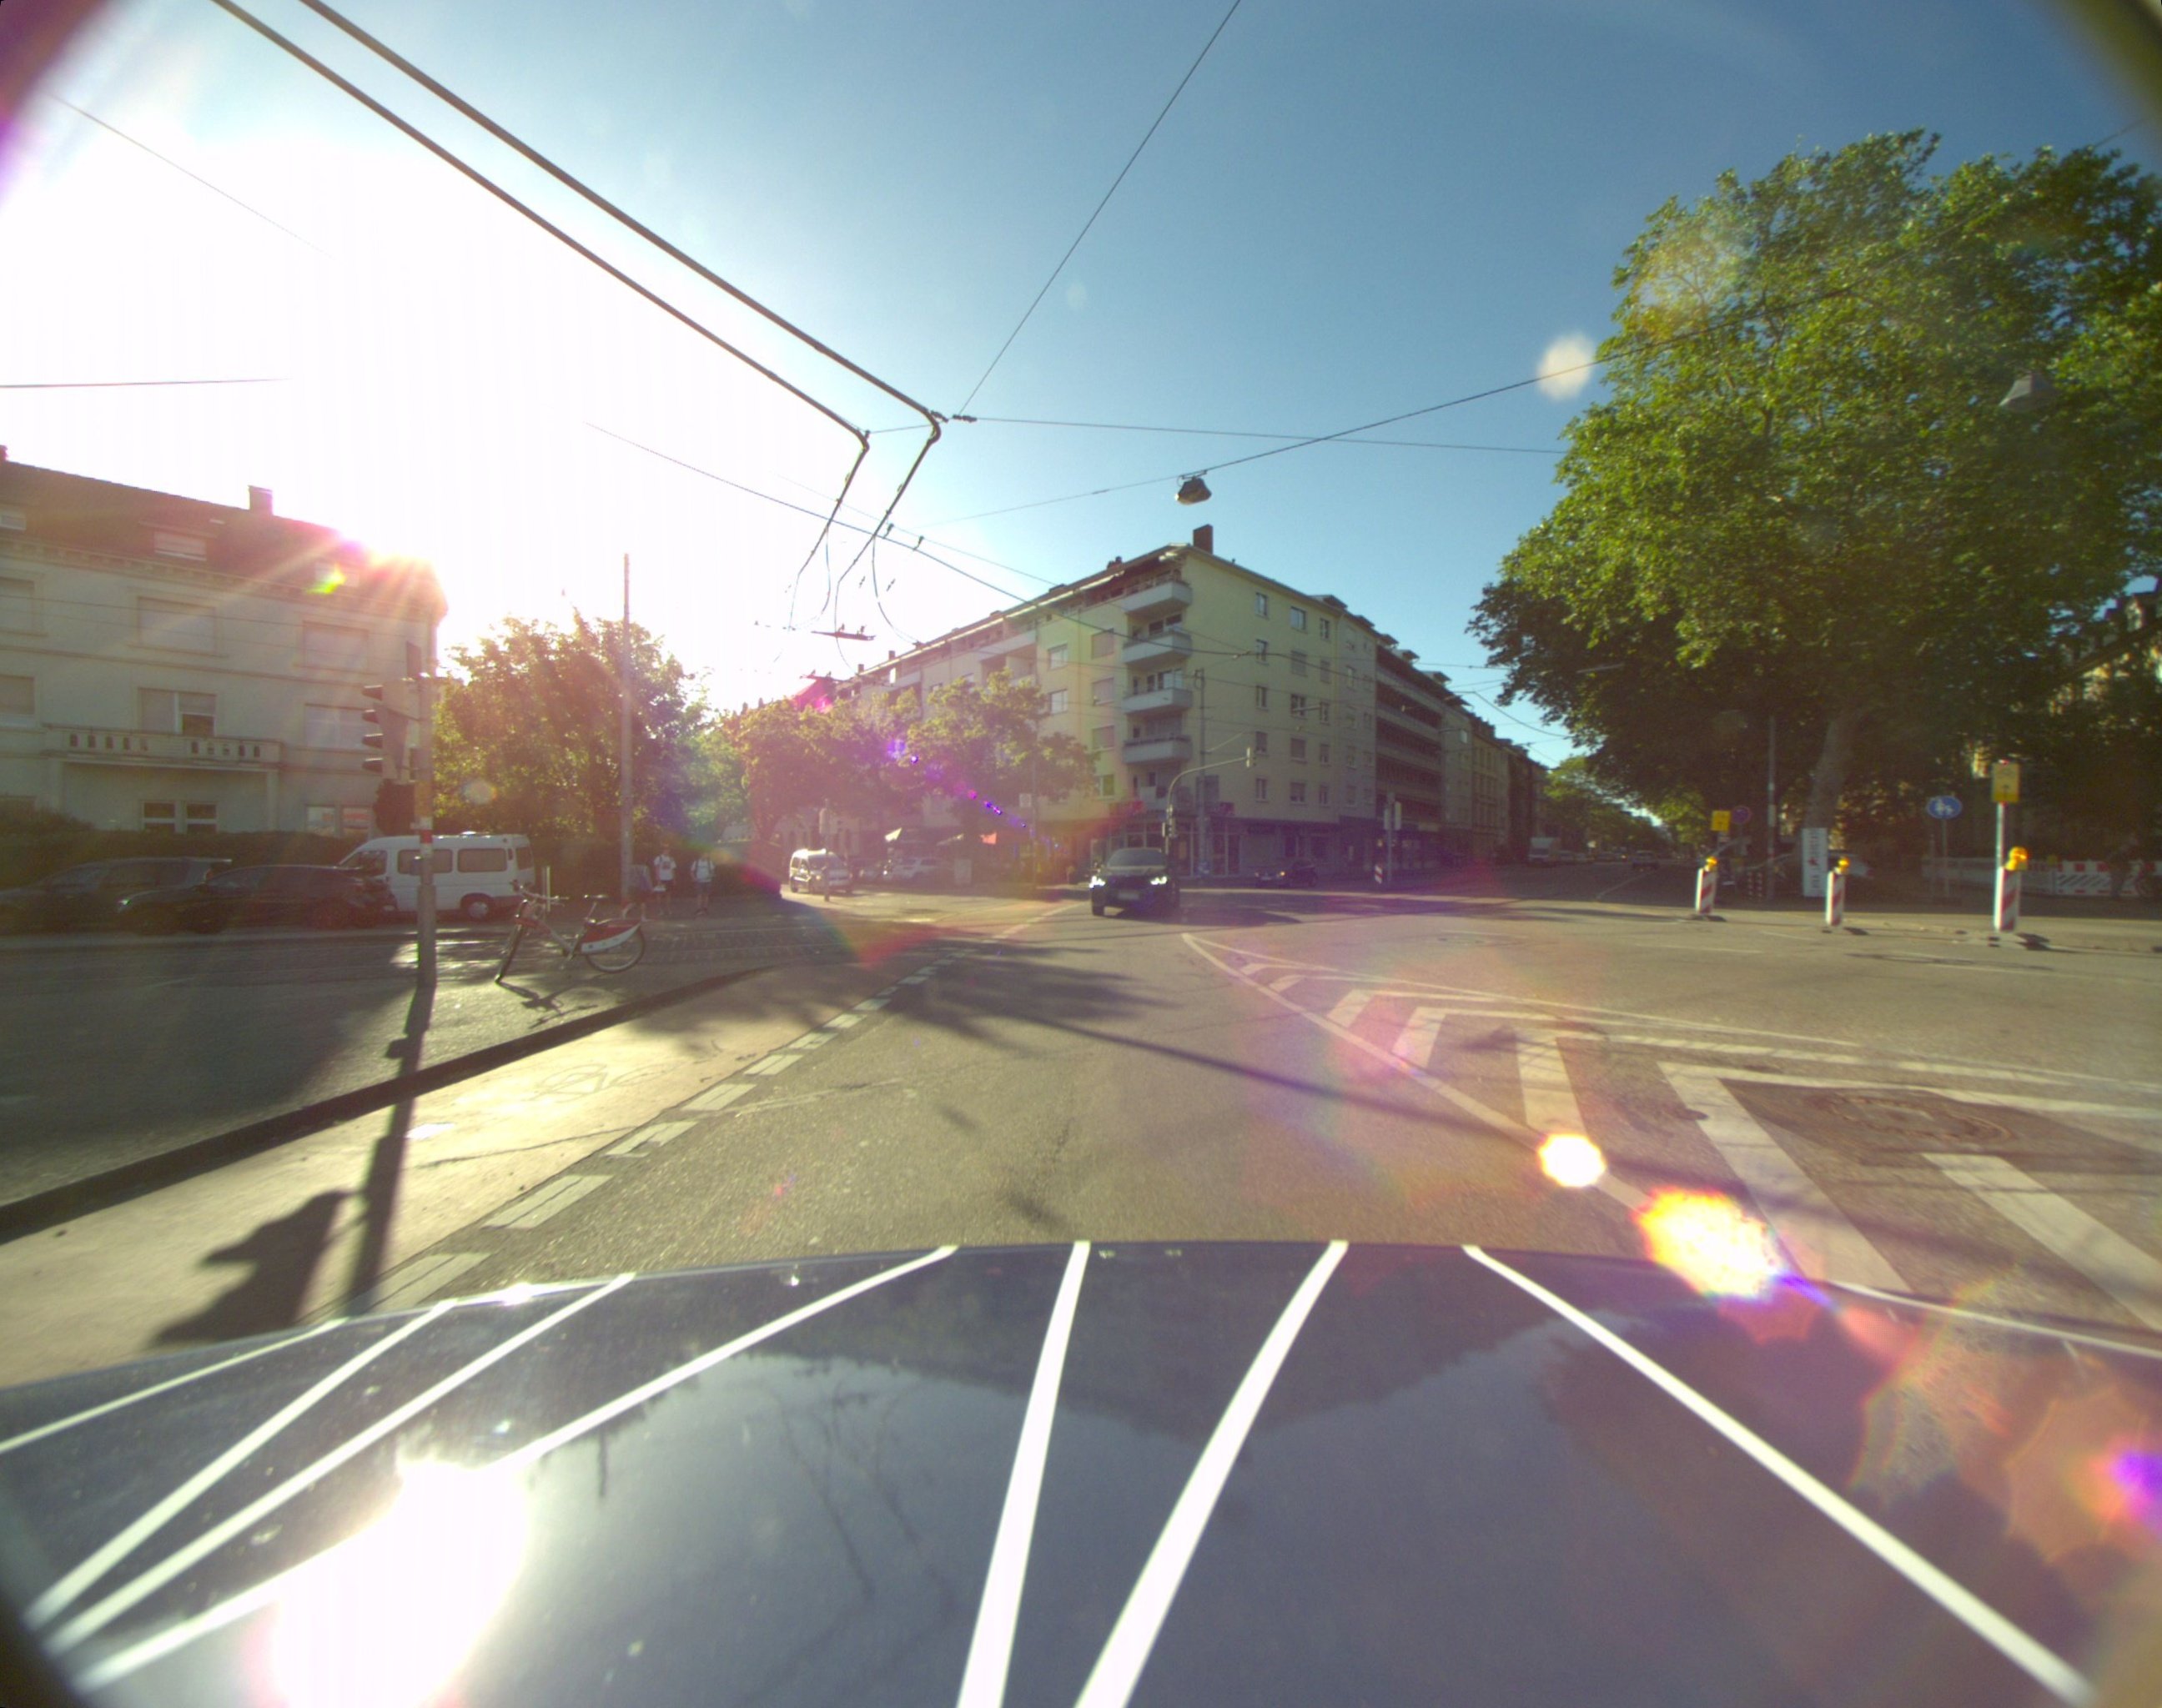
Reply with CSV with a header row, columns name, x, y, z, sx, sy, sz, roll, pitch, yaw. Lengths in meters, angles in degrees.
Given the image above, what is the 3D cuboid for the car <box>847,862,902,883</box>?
name,x,y,z,sx,sy,sz,roll,pitch,yaw
car,-12.095,1.054,44.582,2.802,1.076,1.323,-3,1,-36

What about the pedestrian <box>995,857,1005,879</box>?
name,x,y,z,sx,sy,sz,roll,pitch,yaw
pedestrian,-4.763,0.834,44.790,0.384,1.269,0.495,-2,-1,21

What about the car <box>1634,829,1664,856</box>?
name,x,y,z,sx,sy,sz,roll,pitch,yaw
car,51.799,-1.065,69.238,1.964,2.256,4.430,-1,1,39

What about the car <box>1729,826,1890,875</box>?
name,x,y,z,sx,sy,sz,roll,pitch,yaw
car,26.531,-0.119,27.888,4.138,1.631,1.778,-2,1,40

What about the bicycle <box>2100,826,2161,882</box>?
name,x,y,z,sx,sy,sz,roll,pitch,yaw
bicycle,28.482,-0.010,19.879,0.727,1.454,2.046,-4,4,-43

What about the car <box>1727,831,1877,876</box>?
name,x,y,z,sx,sy,sz,roll,pitch,yaw
car,28.117,-0.005,29.846,4.138,1.631,1.778,-2,1,40

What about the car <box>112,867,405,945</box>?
name,x,y,z,sx,sy,sz,roll,pitch,yaw
car,-16.842,0.998,15.861,3.697,1.388,1.894,-1,0,-27

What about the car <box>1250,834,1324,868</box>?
name,x,y,z,sx,sy,sz,roll,pitch,yaw
car,9.559,-0.168,35.097,1.698,1.432,3.653,-2,0,44

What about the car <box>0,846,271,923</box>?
name,x,y,z,sx,sy,sz,roll,pitch,yaw
car,-21.587,0.634,17.329,3.780,1.594,1.967,-1,0,-27

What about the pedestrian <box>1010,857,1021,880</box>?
name,x,y,z,sx,sy,sz,roll,pitch,yaw
pedestrian,-3.628,0.817,41.959,0.384,1.269,0.495,-2,-1,21

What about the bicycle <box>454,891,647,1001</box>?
name,x,y,z,sx,sy,sz,roll,pitch,yaw
bicycle,-6.175,1.020,8.914,1.810,1.120,0.626,0,-1,-39

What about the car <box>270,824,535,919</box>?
name,x,y,z,sx,sy,sz,roll,pitch,yaw
car,-16.709,0.380,19.080,4.562,2.164,1.947,-1,0,-27

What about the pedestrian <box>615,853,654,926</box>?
name,x,y,z,sx,sy,sz,roll,pitch,yaw
pedestrian,-10.184,0.792,17.349,0.672,1.583,0.727,-3,1,-27

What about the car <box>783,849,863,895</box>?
name,x,y,z,sx,sy,sz,roll,pitch,yaw
car,-11.354,0.761,33.280,1.860,1.796,4.208,-3,1,-39

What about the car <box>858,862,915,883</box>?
name,x,y,z,sx,sy,sz,roll,pitch,yaw
car,-11.026,1.029,43.178,2.802,1.076,1.323,-3,1,-36

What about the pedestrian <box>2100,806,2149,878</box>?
name,x,y,z,sx,sy,sz,roll,pitch,yaw
pedestrian,28.811,-0.335,20.992,0.929,1.952,0.695,-3,2,-42

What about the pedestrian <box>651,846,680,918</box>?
name,x,y,z,sx,sy,sz,roll,pitch,yaw
pedestrian,-11.519,0.760,21.079,0.595,1.920,0.852,-3,1,-27

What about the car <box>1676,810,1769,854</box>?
name,x,y,z,sx,sy,sz,roll,pitch,yaw
car,40.698,-1.374,48.297,4.409,2.612,1.973,-2,1,40

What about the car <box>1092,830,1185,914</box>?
name,x,y,z,sx,sy,sz,roll,pitch,yaw
car,1.633,0.404,19.834,1.939,1.922,4.527,0,1,11

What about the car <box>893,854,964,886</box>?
name,x,y,z,sx,sy,sz,roll,pitch,yaw
car,-7.931,0.823,39.553,3.204,1.478,1.575,-3,1,-36

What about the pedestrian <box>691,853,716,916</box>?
name,x,y,z,sx,sy,sz,roll,pitch,yaw
pedestrian,-10.648,0.840,21.416,0.555,1.726,0.628,-3,1,-27

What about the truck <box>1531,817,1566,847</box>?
name,x,y,z,sx,sy,sz,roll,pitch,yaw
truck,49.457,-2.350,80.312,2.337,2.955,8.047,-1,1,37

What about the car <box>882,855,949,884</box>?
name,x,y,z,sx,sy,sz,roll,pitch,yaw
car,-9.155,0.839,42.005,3.204,1.394,1.575,-3,1,-36

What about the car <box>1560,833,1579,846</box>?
name,x,y,z,sx,sy,sz,roll,pitch,yaw
car,60.096,-1.775,93.491,1.698,1.432,3.653,-2,0,37

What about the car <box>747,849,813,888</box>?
name,x,y,z,sx,sy,sz,roll,pitch,yaw
car,-15.261,0.717,38.424,1.860,1.796,4.208,-3,1,-39

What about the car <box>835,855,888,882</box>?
name,x,y,z,sx,sy,sz,roll,pitch,yaw
car,-13.535,0.860,46.877,2.802,1.523,1.323,-3,1,-36
